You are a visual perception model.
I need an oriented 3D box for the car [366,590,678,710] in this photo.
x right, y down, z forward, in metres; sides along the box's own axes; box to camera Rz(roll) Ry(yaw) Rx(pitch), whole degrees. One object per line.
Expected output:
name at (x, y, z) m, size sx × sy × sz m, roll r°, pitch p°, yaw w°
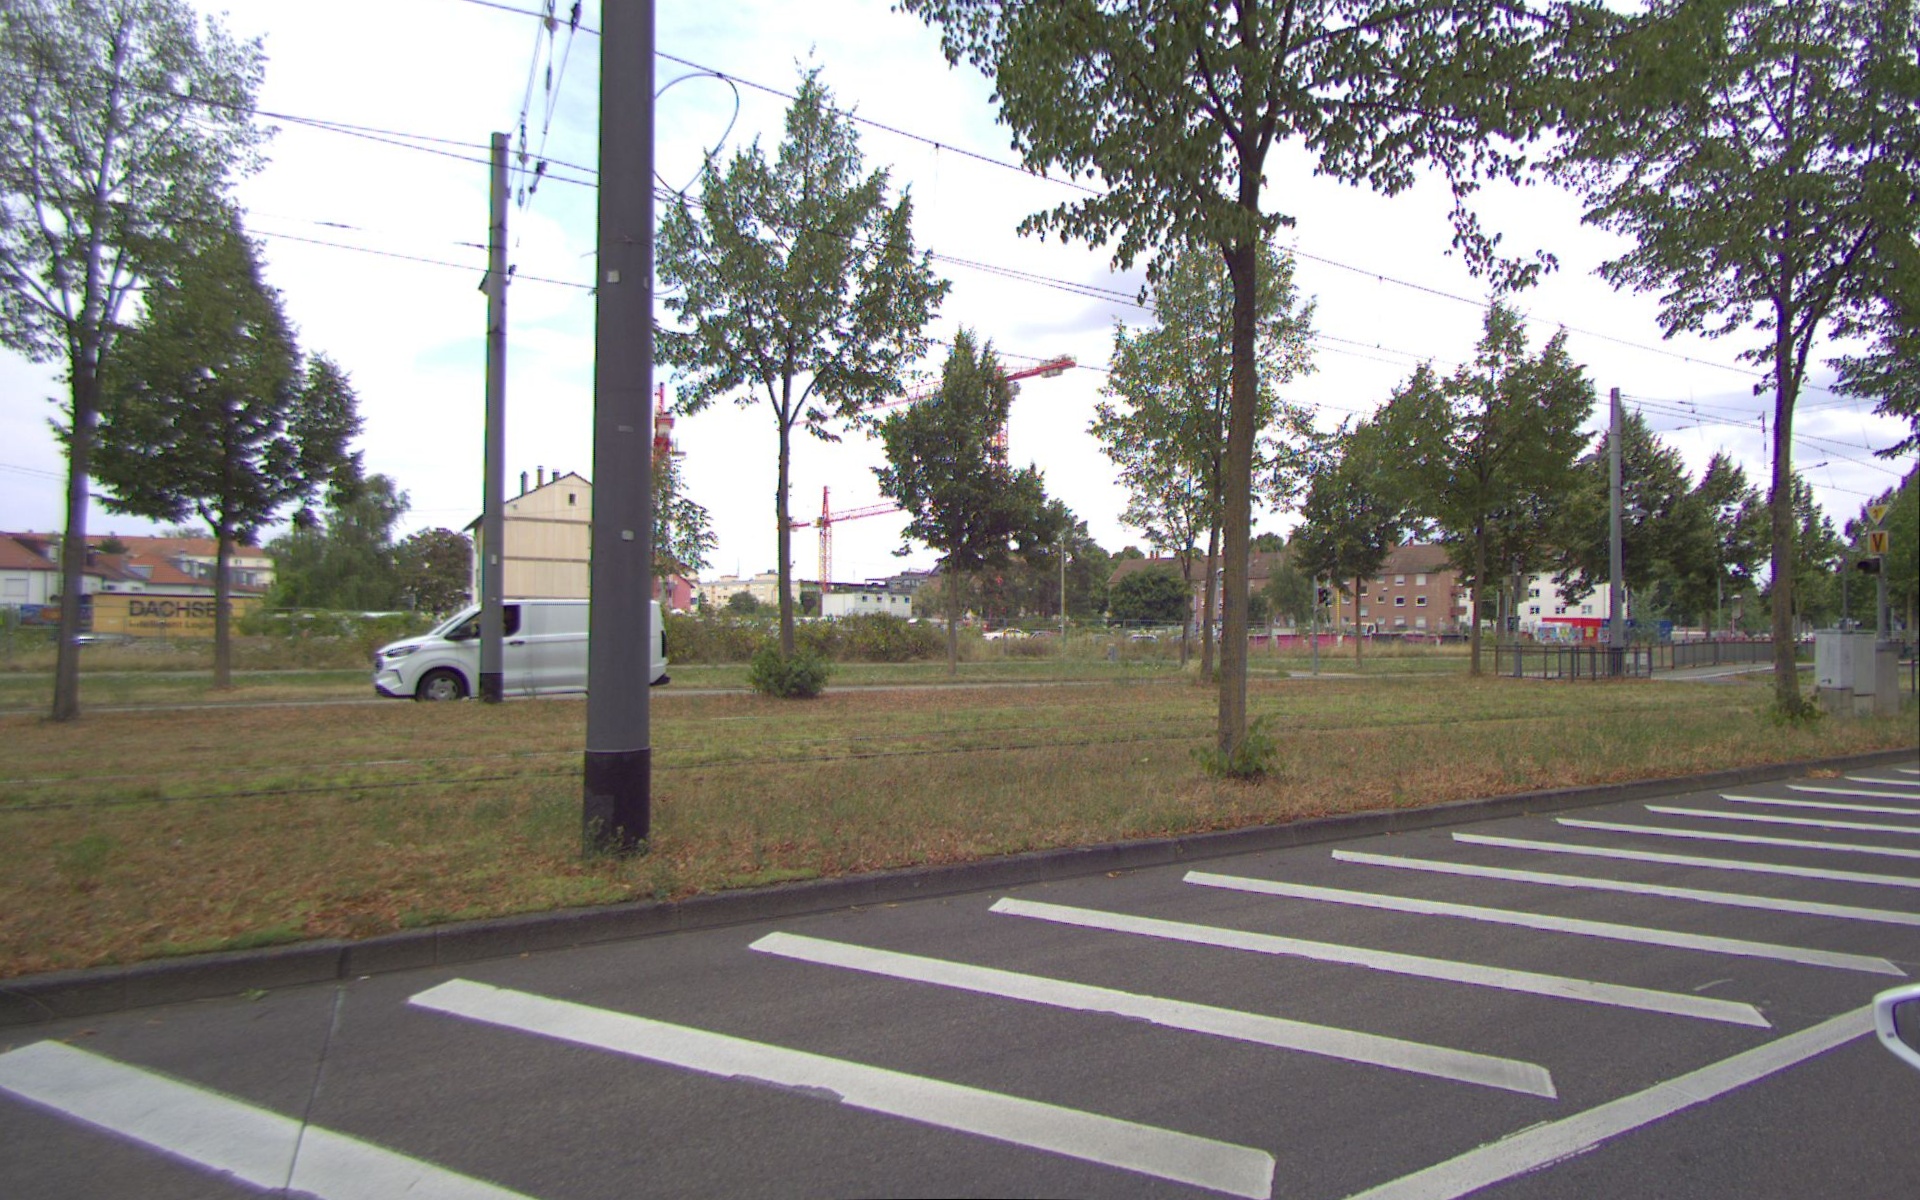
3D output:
car at (-8.077, 0.893, 18.757) m, size 5.045 × 1.970 × 1.981 m, roll 2°, pitch -2°, yaw -35°
